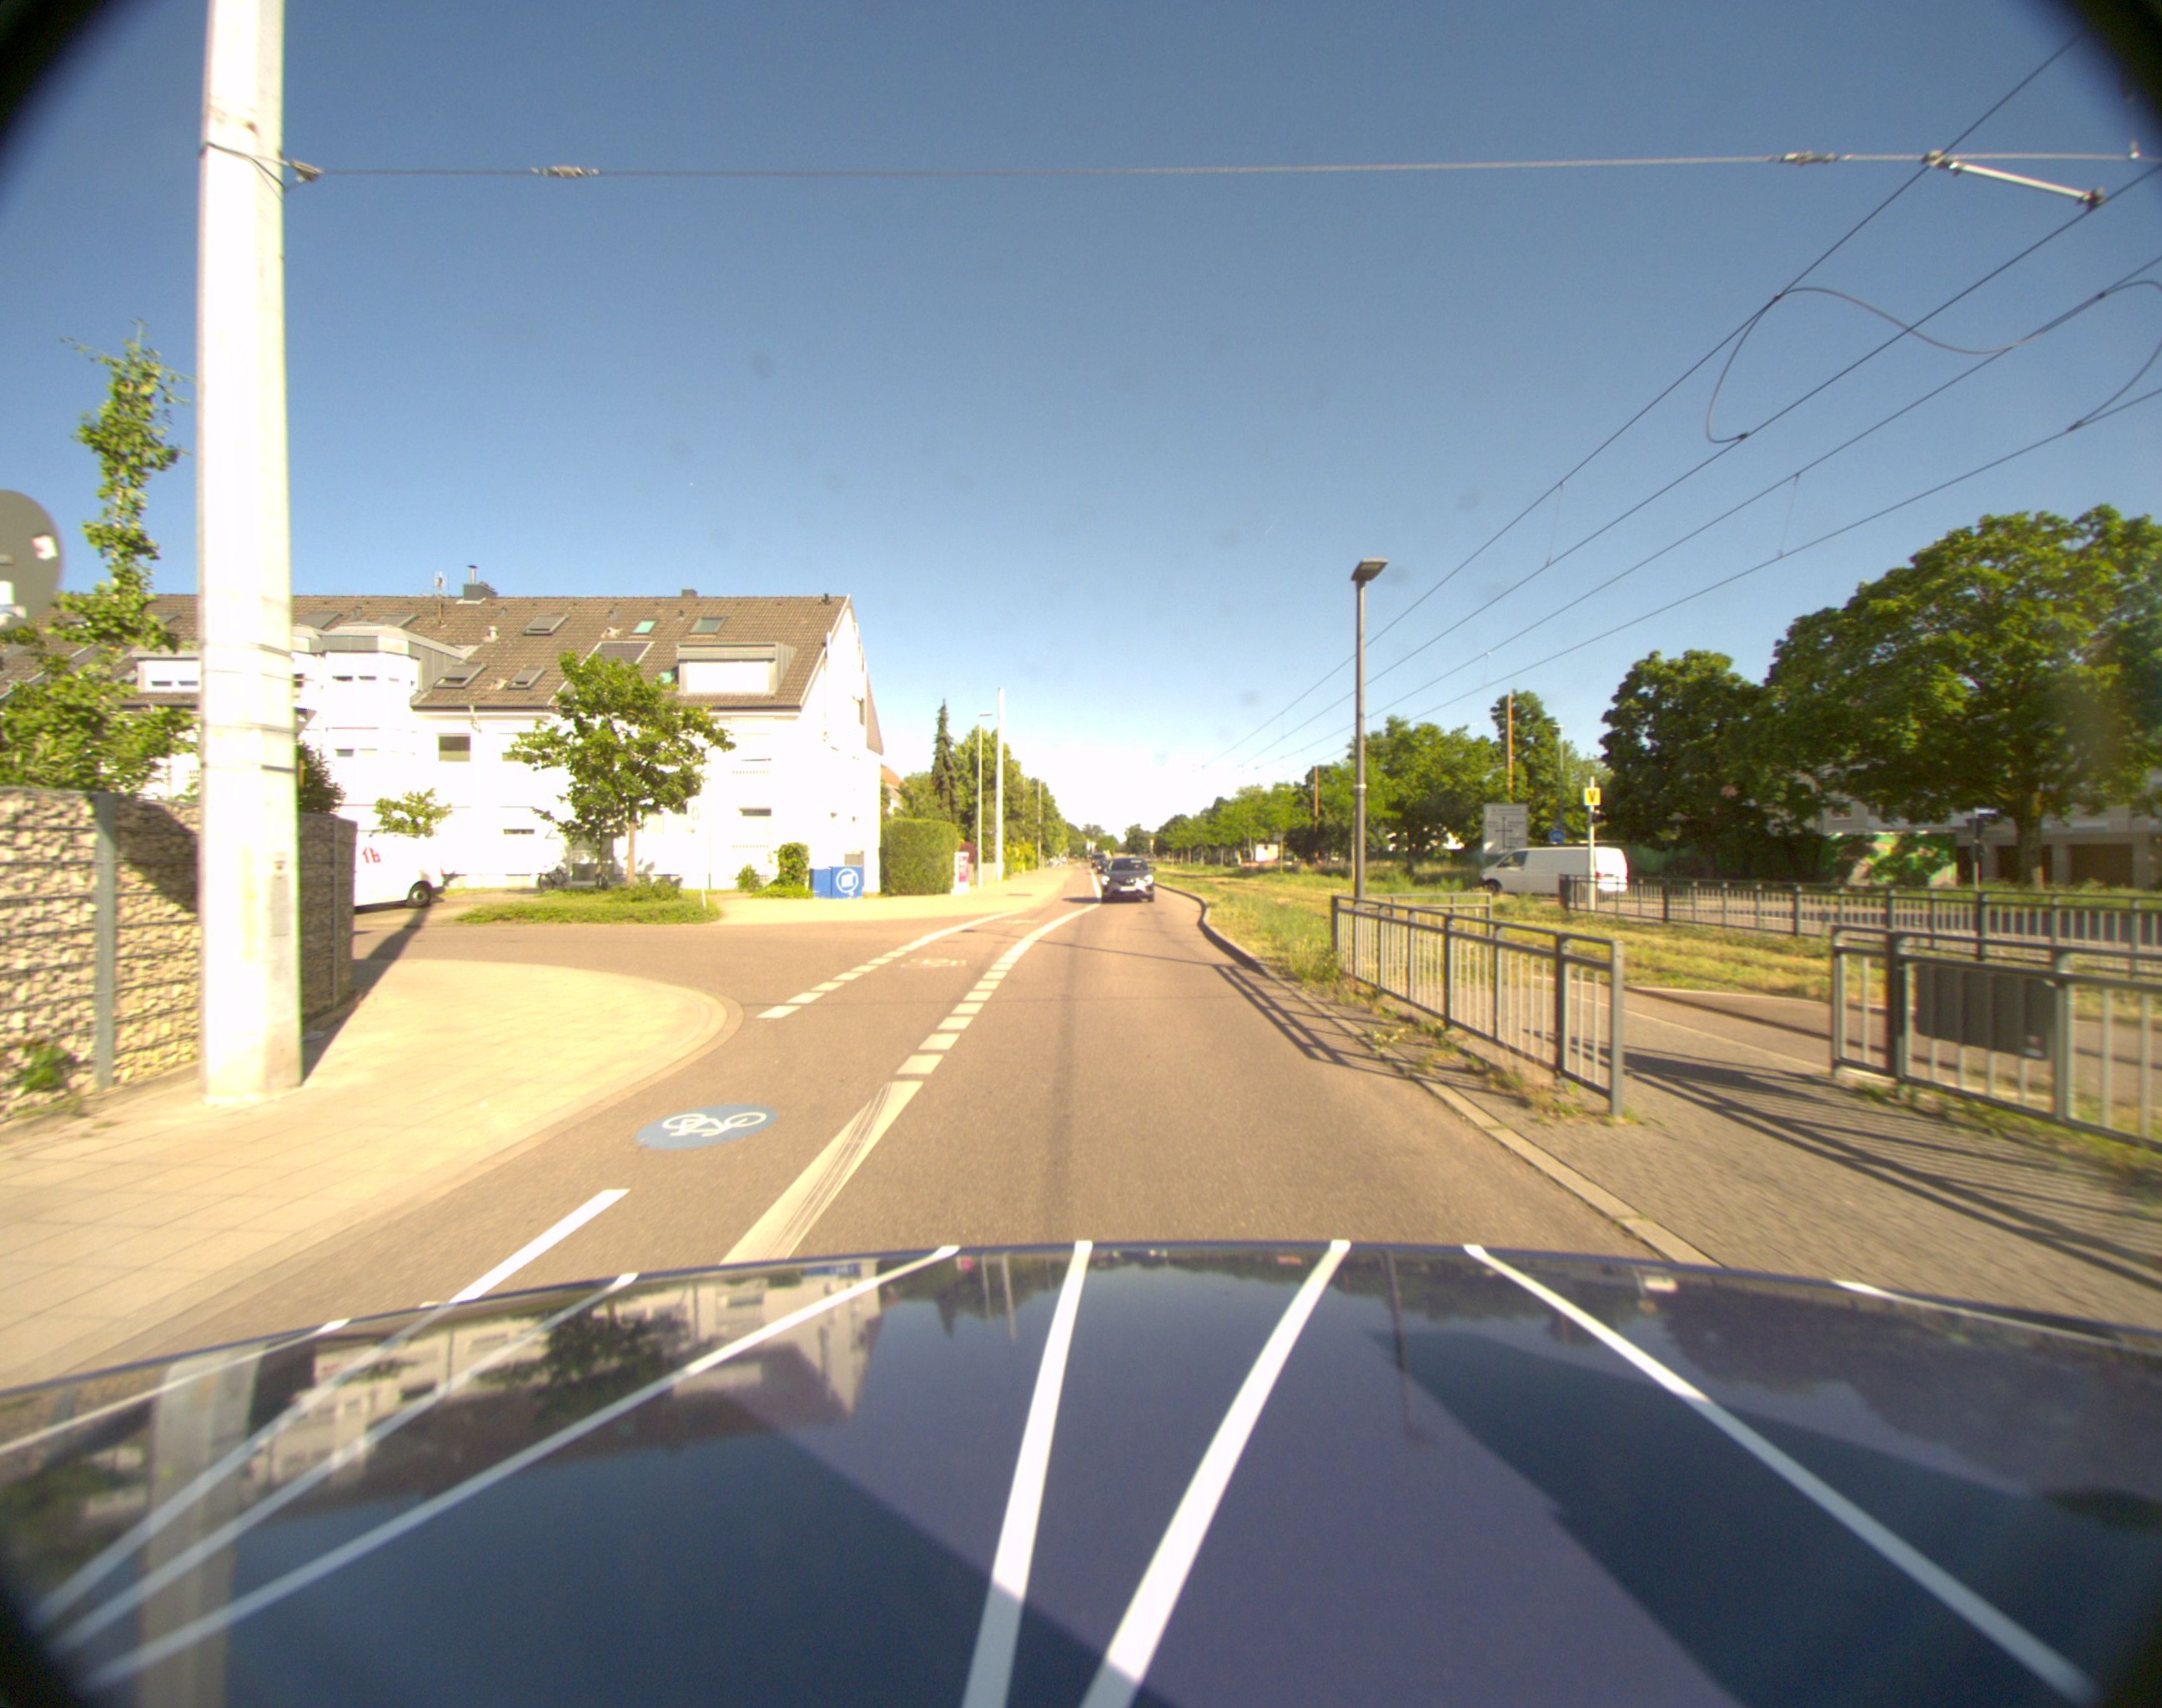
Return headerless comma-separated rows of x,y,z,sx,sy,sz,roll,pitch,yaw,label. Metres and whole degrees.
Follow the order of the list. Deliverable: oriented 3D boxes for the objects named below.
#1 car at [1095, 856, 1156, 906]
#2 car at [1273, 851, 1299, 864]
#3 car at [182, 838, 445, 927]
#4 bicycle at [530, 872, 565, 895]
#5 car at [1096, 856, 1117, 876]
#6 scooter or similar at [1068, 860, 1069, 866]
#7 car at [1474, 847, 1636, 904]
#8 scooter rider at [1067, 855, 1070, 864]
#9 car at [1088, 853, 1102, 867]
1.508,0.889,27.043,1.867,1.614,3.999,-1,0,-1,car
31.176,0.523,115.571,1.893,1.899,4.821,-1,-1,40,car
-18.918,0.597,19.126,1.834,1.938,4.646,-1,1,0,car
-17.572,0.971,25.038,0.308,0.674,1.420,-2,1,-9,bicycle
2.567,1.157,75.872,1.998,1.824,4.000,-2,1,1,car
-2.409,1.773,145.839,0.349,1.130,1.208,0,0,-1,scooter or similar
17.246,0.725,27.924,1.907,1.903,4.690,0,0,-30,car
-2.382,1.119,145.657,0.552,1.756,0.599,-1,0,-1,scooter rider
2.076,0.865,111.142,1.998,1.824,4.000,-2,1,1,car
